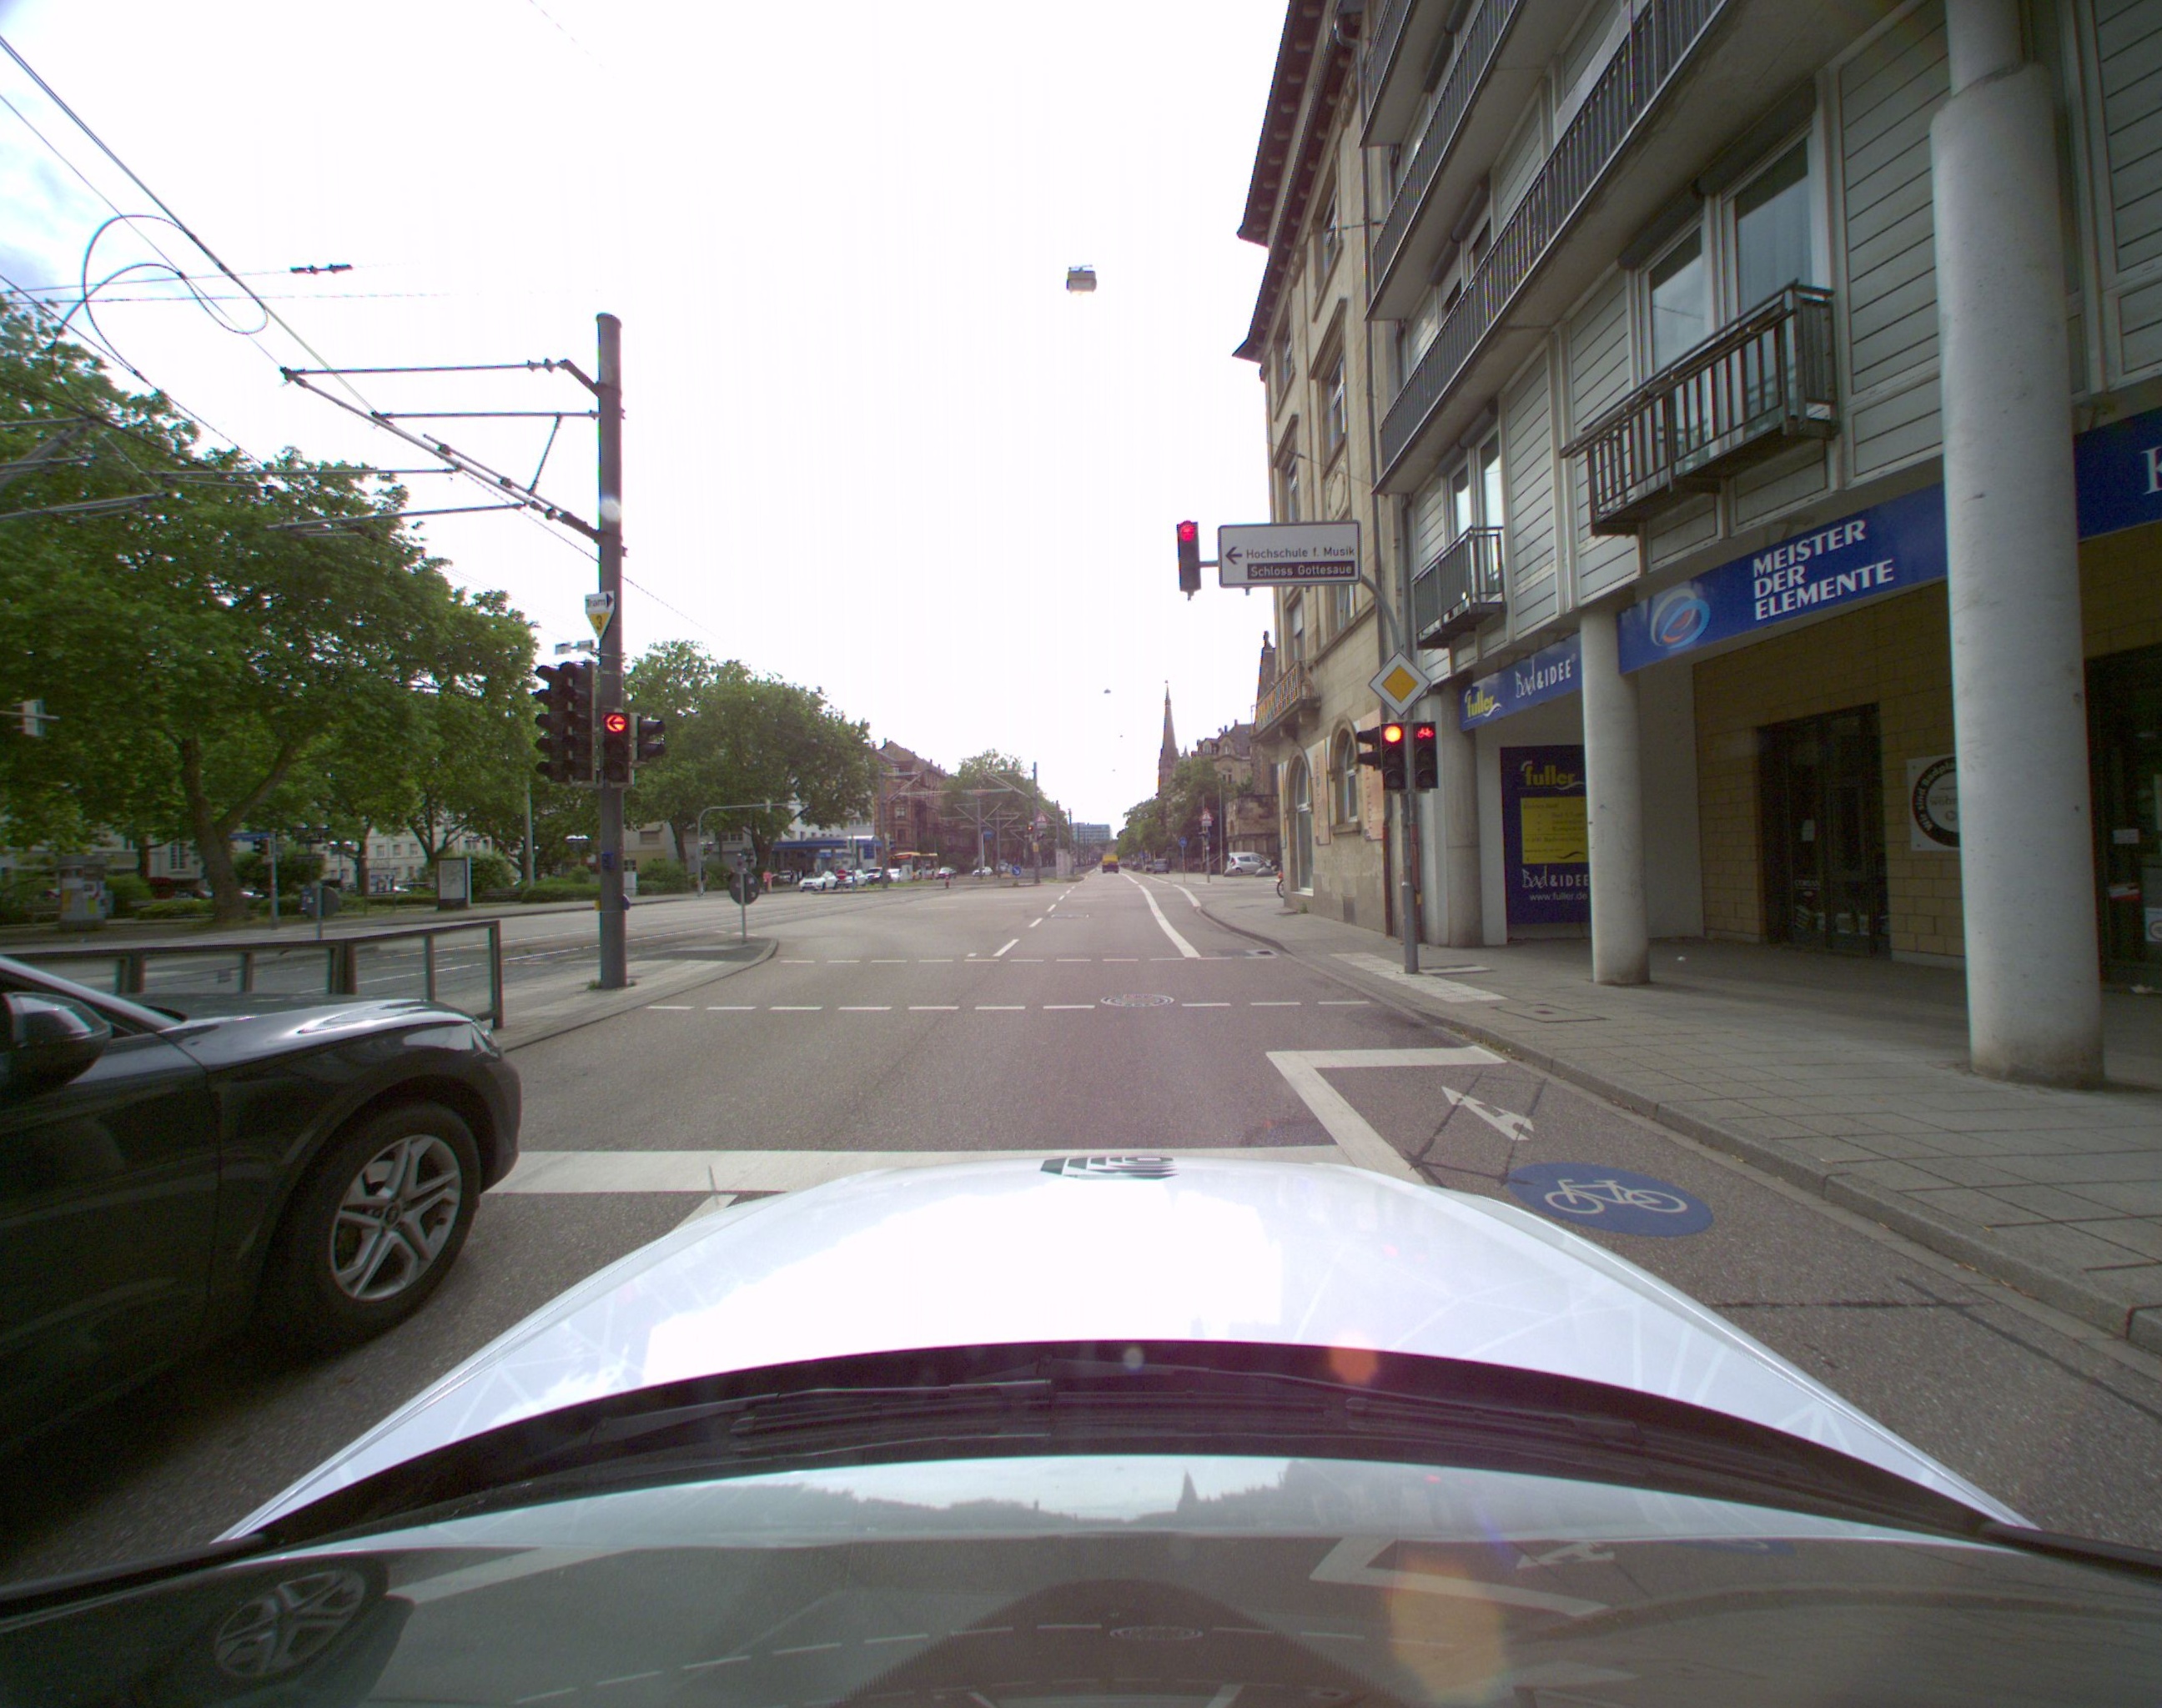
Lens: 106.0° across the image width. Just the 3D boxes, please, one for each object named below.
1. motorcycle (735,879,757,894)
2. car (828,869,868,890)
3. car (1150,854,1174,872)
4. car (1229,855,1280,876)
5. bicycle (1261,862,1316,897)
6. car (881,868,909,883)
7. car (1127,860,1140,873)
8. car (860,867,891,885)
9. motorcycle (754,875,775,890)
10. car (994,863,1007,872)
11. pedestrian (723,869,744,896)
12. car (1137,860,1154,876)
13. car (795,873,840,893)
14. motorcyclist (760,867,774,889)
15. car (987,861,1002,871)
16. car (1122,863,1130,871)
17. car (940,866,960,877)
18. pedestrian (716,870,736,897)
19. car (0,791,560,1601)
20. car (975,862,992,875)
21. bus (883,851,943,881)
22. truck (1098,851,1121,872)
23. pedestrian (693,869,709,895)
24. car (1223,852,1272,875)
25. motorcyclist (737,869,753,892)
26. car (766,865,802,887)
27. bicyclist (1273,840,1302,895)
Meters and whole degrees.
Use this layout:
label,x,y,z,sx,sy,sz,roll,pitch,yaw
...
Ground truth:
label,x,y,z,sx,sy,sz,roll,pitch,yaw
motorcycle,-22.670,2.178,55.163,0.604,0.928,1.953,-2,-1,2
car,-18.842,2.056,66.080,1.986,1.594,4.001,0,-1,2
car,8.975,0.988,89.956,1.979,1.855,4.042,-1,-1,14
car,13.749,0.906,64.719,3.699,1.563,2.001,0,-1,2
bicycle,7.814,0.937,30.662,2.002,1.272,0.744,0,-1,-28
car,-18.156,2.100,79.645,1.649,1.321,3.641,0,-1,3
car,8.690,2.053,135.983,1.986,2.014,4.001,0,-1,2
car,-18.328,1.929,72.724,1.649,1.478,3.641,0,-1,3
motorcycle,-21.641,1.957,55.719,0.604,0.928,1.953,-2,-1,2
car,-14.791,2.445,149.905,1.986,1.610,4.001,0,-1,2
pedestrian,-22.440,1.842,52.619,0.864,1.713,0.880,-2,-1,19
car,7.894,1.698,99.627,1.985,2.014,4.004,0,-1,4
car,-19.219,2.077,59.579,1.739,1.321,4.079,0,0,3
motorcyclist,-21.601,1.653,56.054,0.617,1.520,0.874,-2,-1,2
car,-15.051,2.063,142.096,1.986,1.610,4.001,0,-1,2
car,11.913,3.372,216.791,1.986,2.014,4.001,0,-1,2
car,-16.679,2.199,103.734,1.649,1.321,3.641,0,-1,3
pedestrian,-22.629,1.861,51.903,0.860,1.713,0.694,-2,-1,17
car,-3.066,0.694,1.234,1.727,1.637,4.228,0,-1,2
car,-14.756,2.157,123.756,1.986,2.014,4.001,0,-1,2
bus,-18.297,1.299,89.722,3.217,3.035,12.323,0,0,4
truck,4.156,1.091,117.744,3.043,2.769,9.820,-2,0,2
pedestrian,-25.218,1.876,54.076,0.680,1.690,0.743,0,-1,6
car,13.929,0.789,68.242,3.699,1.855,2.001,0,-1,2
motorcyclist,-22.684,1.808,54.994,0.617,1.520,0.874,-2,-1,2
car,-29.818,2.163,81.779,1.986,2.014,4.001,-2,0,2
bicyclist,7.785,0.500,30.674,0.696,2.014,0.776,0,-1,-27
